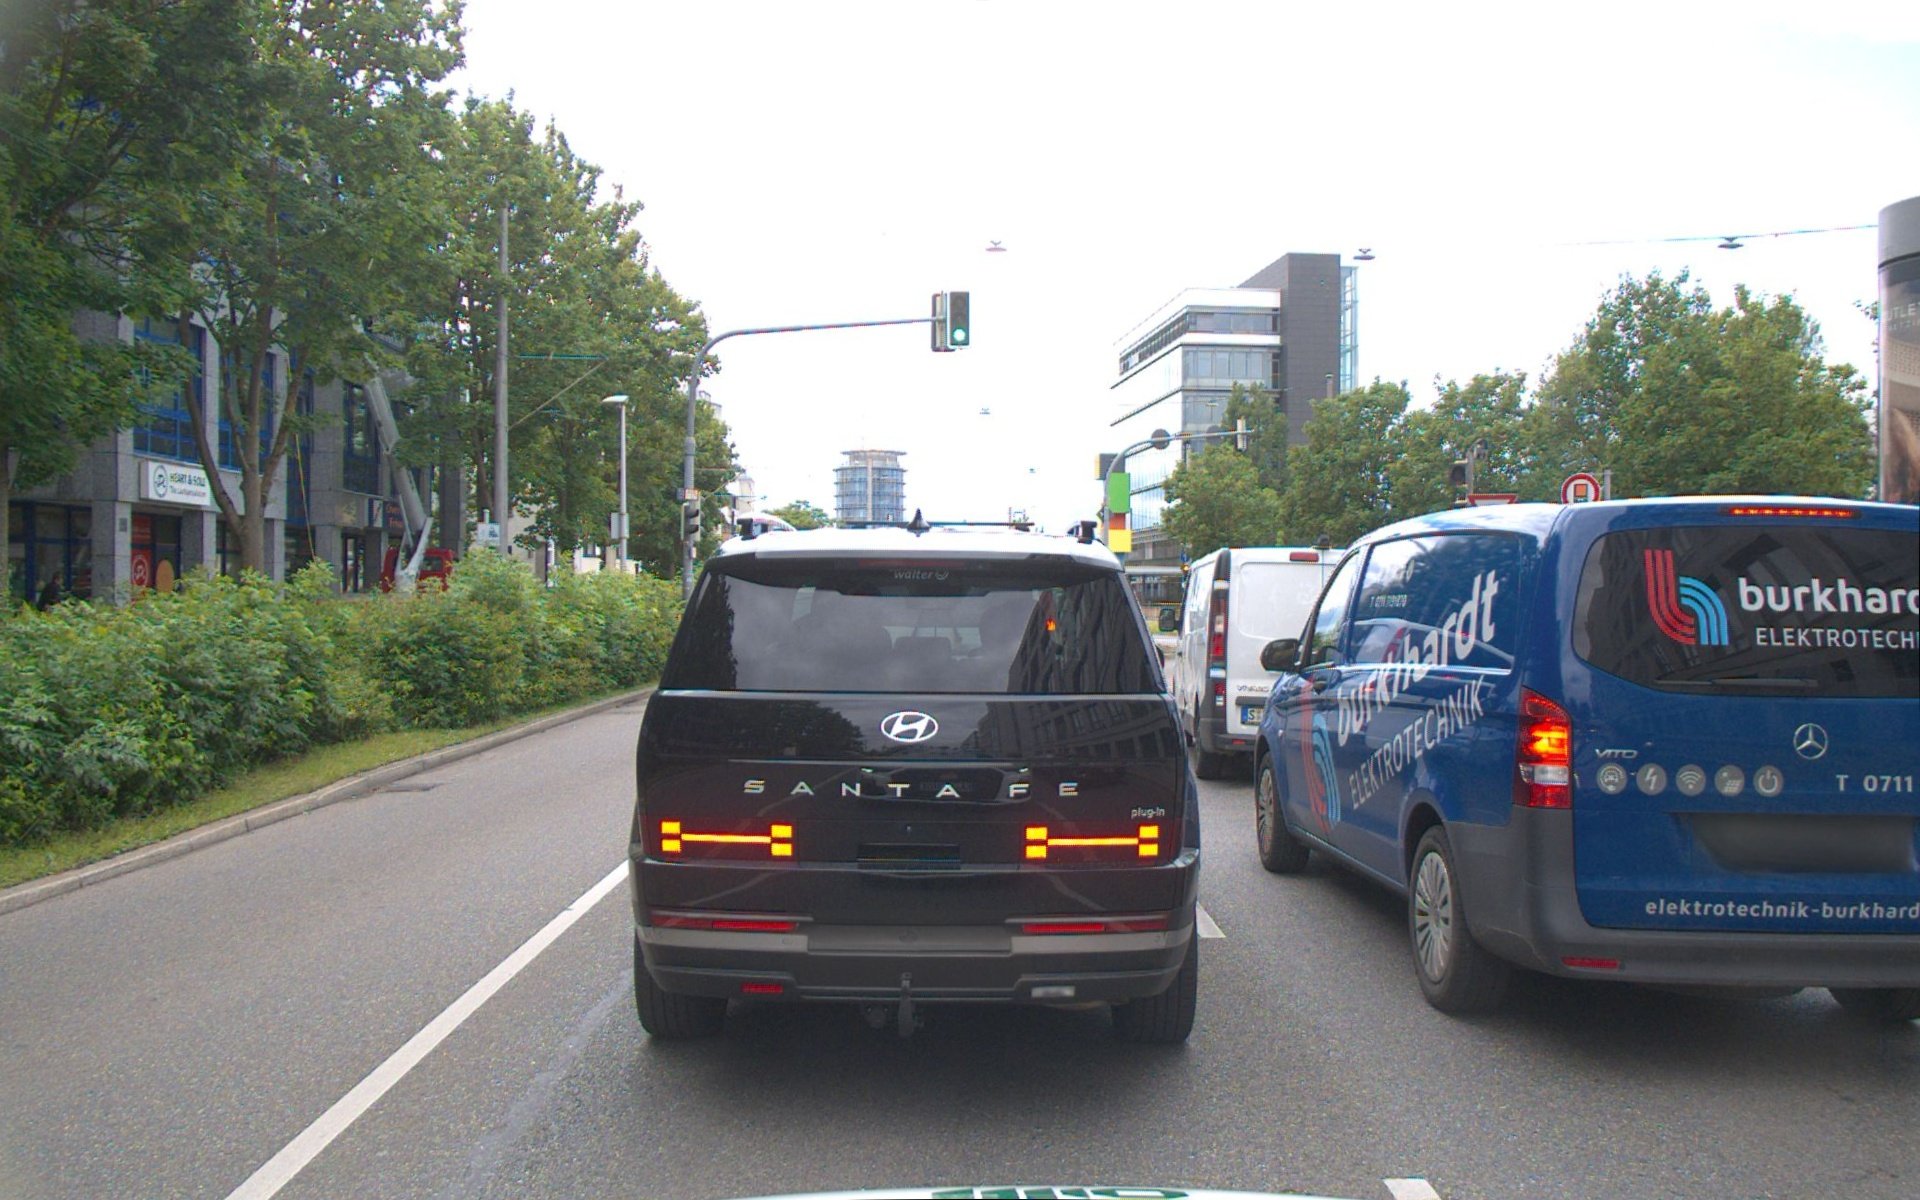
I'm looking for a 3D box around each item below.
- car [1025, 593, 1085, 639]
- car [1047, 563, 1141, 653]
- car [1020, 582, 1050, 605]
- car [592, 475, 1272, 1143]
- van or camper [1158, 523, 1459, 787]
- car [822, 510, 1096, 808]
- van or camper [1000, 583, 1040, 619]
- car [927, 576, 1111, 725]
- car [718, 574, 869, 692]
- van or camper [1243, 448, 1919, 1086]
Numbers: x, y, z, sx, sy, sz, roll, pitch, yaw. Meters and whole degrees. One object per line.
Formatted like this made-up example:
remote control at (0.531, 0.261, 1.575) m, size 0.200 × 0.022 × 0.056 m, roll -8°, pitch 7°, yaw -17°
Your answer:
car at (3.520, 0.596, 61.951) m, size 1.953 × 1.646 × 3.999 m, roll 1°, pitch 0°, yaw -1°
car at (3.175, 0.197, 39.918) m, size 1.952 × 2.049 × 4.000 m, roll 1°, pitch 0°, yaw 0°
car at (5.956, -0.511, 131.620) m, size 1.954 × 1.713 × 3.997 m, roll 1°, pitch 0°, yaw -3°
car at (-0.097, 0.553, 6.397) m, size 1.831 × 1.791 × 3.879 m, roll 0°, pitch 0°, yaw -1°
van or camper at (3.015, 0.424, 15.320) m, size 1.952 × 2.049 × 4.654 m, roll 1°, pitch 0°, yaw 2°
car at (-0.038, 0.396, 13.271) m, size 1.876 × 2.038 × 3.879 m, roll 0°, pitch 0°, yaw -1°
van or camper at (4.518, 0.118, 123.555) m, size 1.951 × 2.591 × 6.583 m, roll 0°, pitch 0°, yaw 12°
car at (0.888, 0.613, 21.749) m, size 1.738 × 1.747 × 4.342 m, roll 1°, pitch 0°, yaw 11°
car at (-2.480, 0.488, 25.598) m, size 1.809 × 1.608 × 4.116 m, roll -2°, pitch 0°, yaw 1°
van or camper at (2.668, 0.500, 7.577) m, size 1.822 × 1.944 × 5.031 m, roll 0°, pitch 0°, yaw -1°
